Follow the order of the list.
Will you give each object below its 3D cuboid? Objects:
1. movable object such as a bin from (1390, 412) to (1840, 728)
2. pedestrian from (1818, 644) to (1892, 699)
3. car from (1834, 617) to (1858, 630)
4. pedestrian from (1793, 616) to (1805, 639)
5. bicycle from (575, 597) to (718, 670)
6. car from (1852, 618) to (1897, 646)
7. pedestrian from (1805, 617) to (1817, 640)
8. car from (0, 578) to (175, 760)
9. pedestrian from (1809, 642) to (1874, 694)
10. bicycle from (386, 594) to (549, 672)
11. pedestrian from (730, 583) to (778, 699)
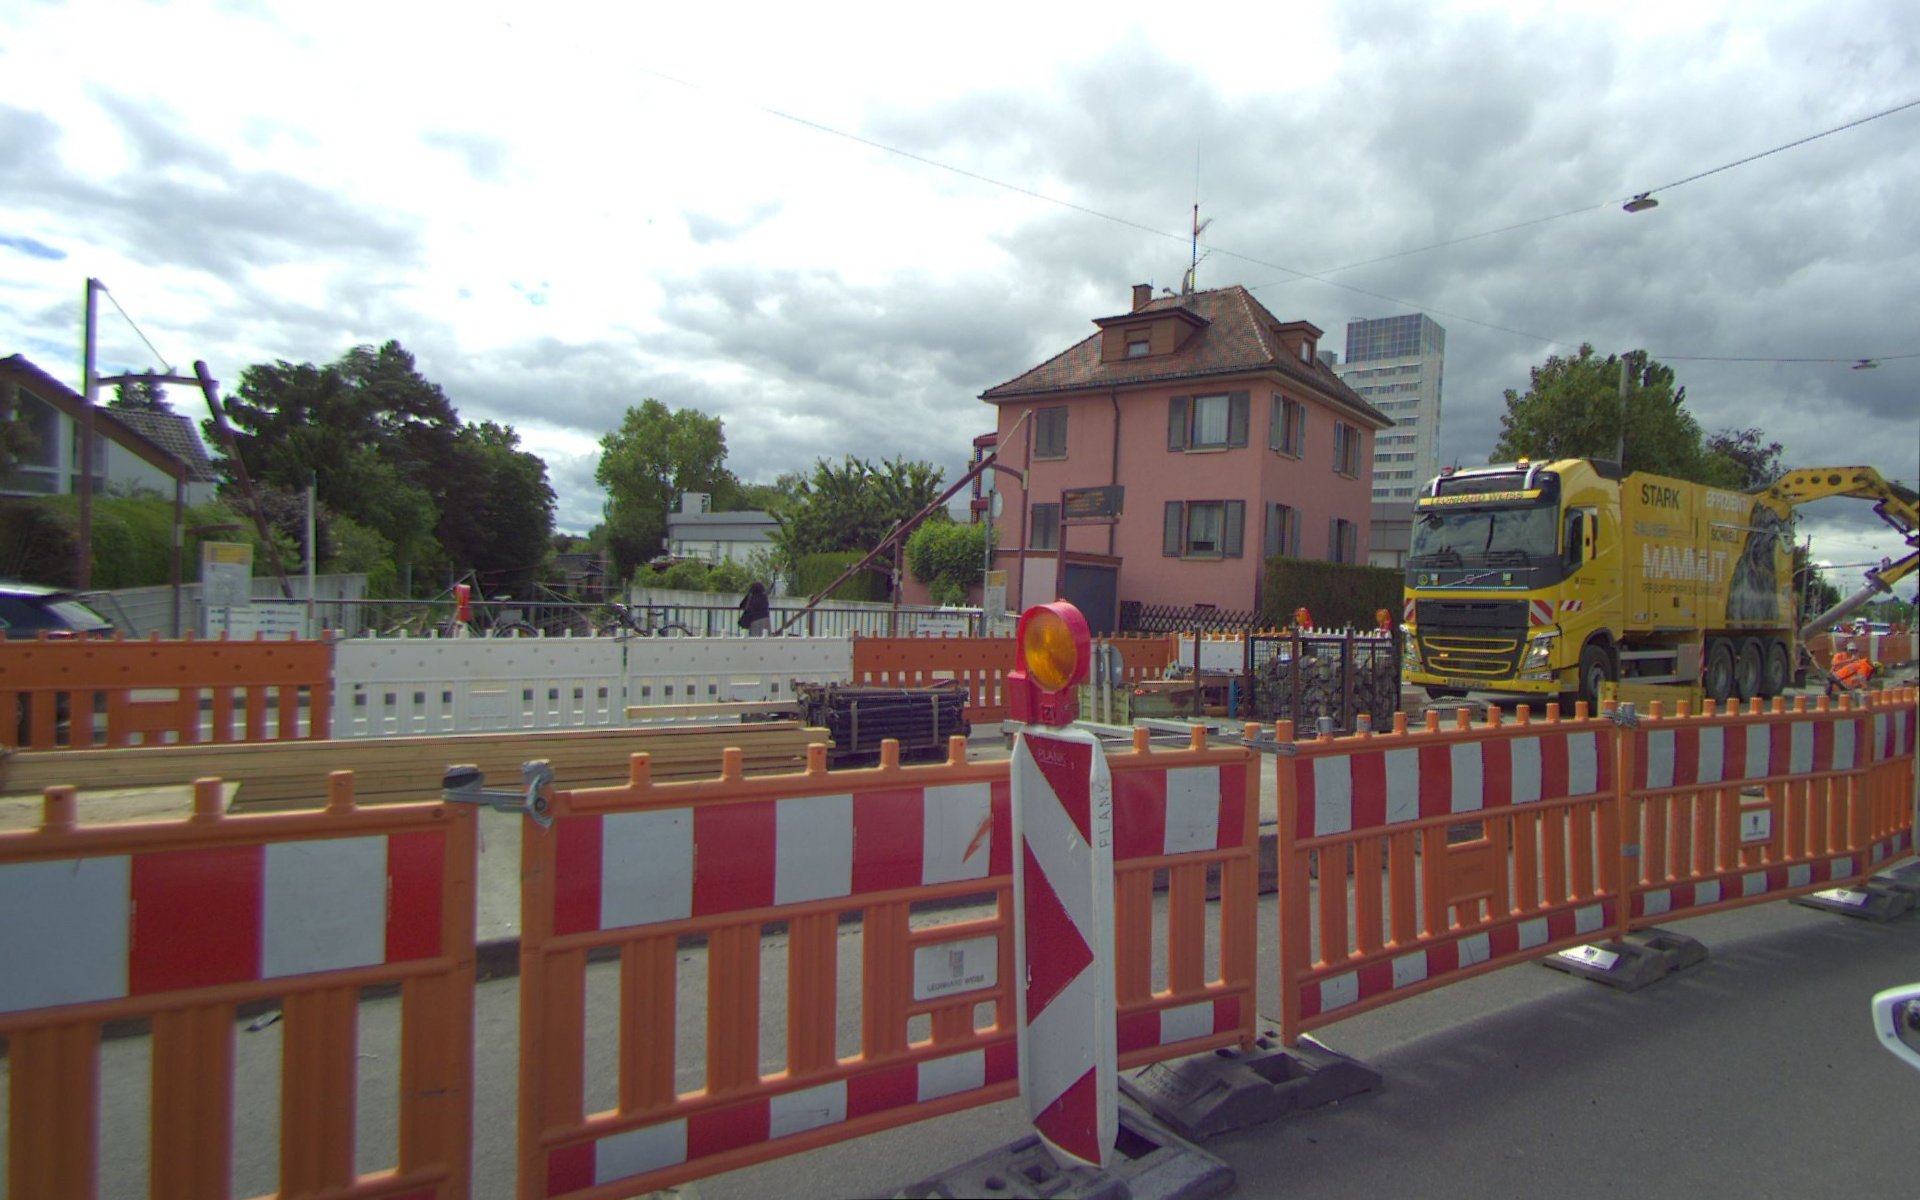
[{"bbox_3d":[12.042,-0.308,17.774,11.006,4.278,2.575,1,0,-34],"label":"movable object such as a bin"},{"bbox_3d":[17.637,1.396,19.801,0.799,1.004,0.789,1,1,-20],"label":"pedestrian"},{"bbox_3d":[109.217,2.872,123.801,3.974,1.533,1.836,2,1,-44],"label":"car"},{"bbox_3d":[69.457,2.288,83.135,0.674,1.879,0.703,3,1,42],"label":"pedestrian"},{"bbox_3d":[-4.988,0.537,16.045,2.104,1.097,0.536,2,0,-27],"label":"bicycle"},{"bbox_3d":[54.769,1.890,60.126,1.834,1.472,3.976,4,2,43],"label":"car"},{"bbox_3d":[70.031,2.317,82.647,0.674,1.879,0.887,3,1,42],"label":"pedestrian"},{"bbox_3d":[-9.786,0.546,8.711,4.385,1.533,1.847,2,0,-28],"label":"car"},{"bbox_3d":[18.138,1.395,20.685,0.779,1.004,0.641,1,1,-10],"label":"pedestrian"},{"bbox_3d":[-7.219,0.487,14.798,2.104,1.097,0.536,2,0,-27],"label":"bicycle"},{"bbox_3d":[-3.476,0.682,16.958,0.578,1.911,0.676,1,1,-29],"label":"pedestrian"}]
